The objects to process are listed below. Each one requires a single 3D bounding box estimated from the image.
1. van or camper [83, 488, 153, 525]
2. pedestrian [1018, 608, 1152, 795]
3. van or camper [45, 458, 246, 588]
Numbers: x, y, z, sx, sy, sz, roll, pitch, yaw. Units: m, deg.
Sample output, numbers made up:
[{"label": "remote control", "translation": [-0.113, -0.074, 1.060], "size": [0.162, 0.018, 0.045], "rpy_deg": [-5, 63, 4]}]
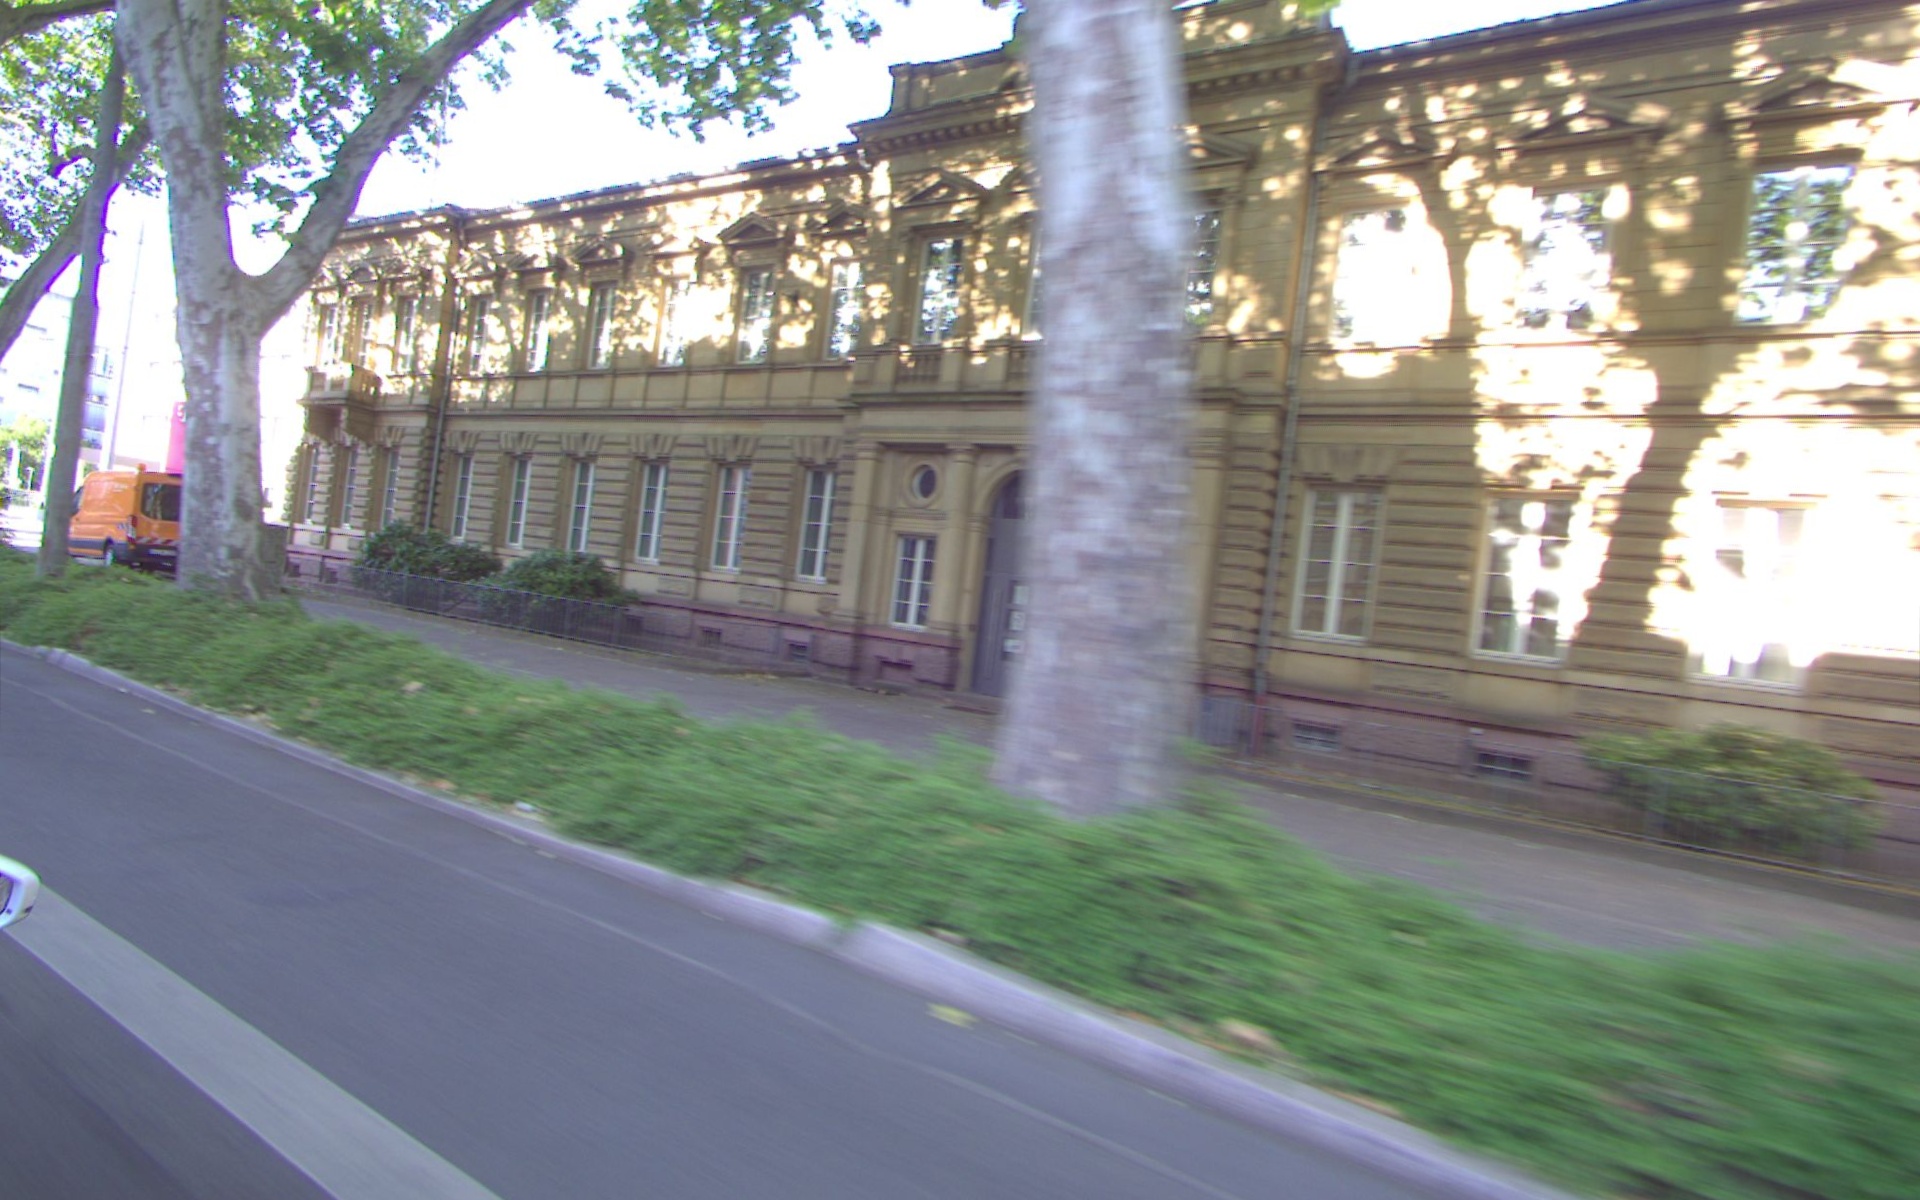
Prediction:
[{"label": "van or camper", "translation": [-56.553, -6.285, 67.529], "size": [4.916, 1.932, 1.983], "rpy_deg": [7, 0, 31]}, {"label": "pedestrian", "translation": [1.293, 1.033, 10.465], "size": [0.993, 1.757, 0.650], "rpy_deg": [7, 0, 40]}, {"label": "van or camper", "translation": [-20.126, -1.932, 24.771], "size": [5.679, 2.590, 2.038], "rpy_deg": [7, 0, 33]}]
